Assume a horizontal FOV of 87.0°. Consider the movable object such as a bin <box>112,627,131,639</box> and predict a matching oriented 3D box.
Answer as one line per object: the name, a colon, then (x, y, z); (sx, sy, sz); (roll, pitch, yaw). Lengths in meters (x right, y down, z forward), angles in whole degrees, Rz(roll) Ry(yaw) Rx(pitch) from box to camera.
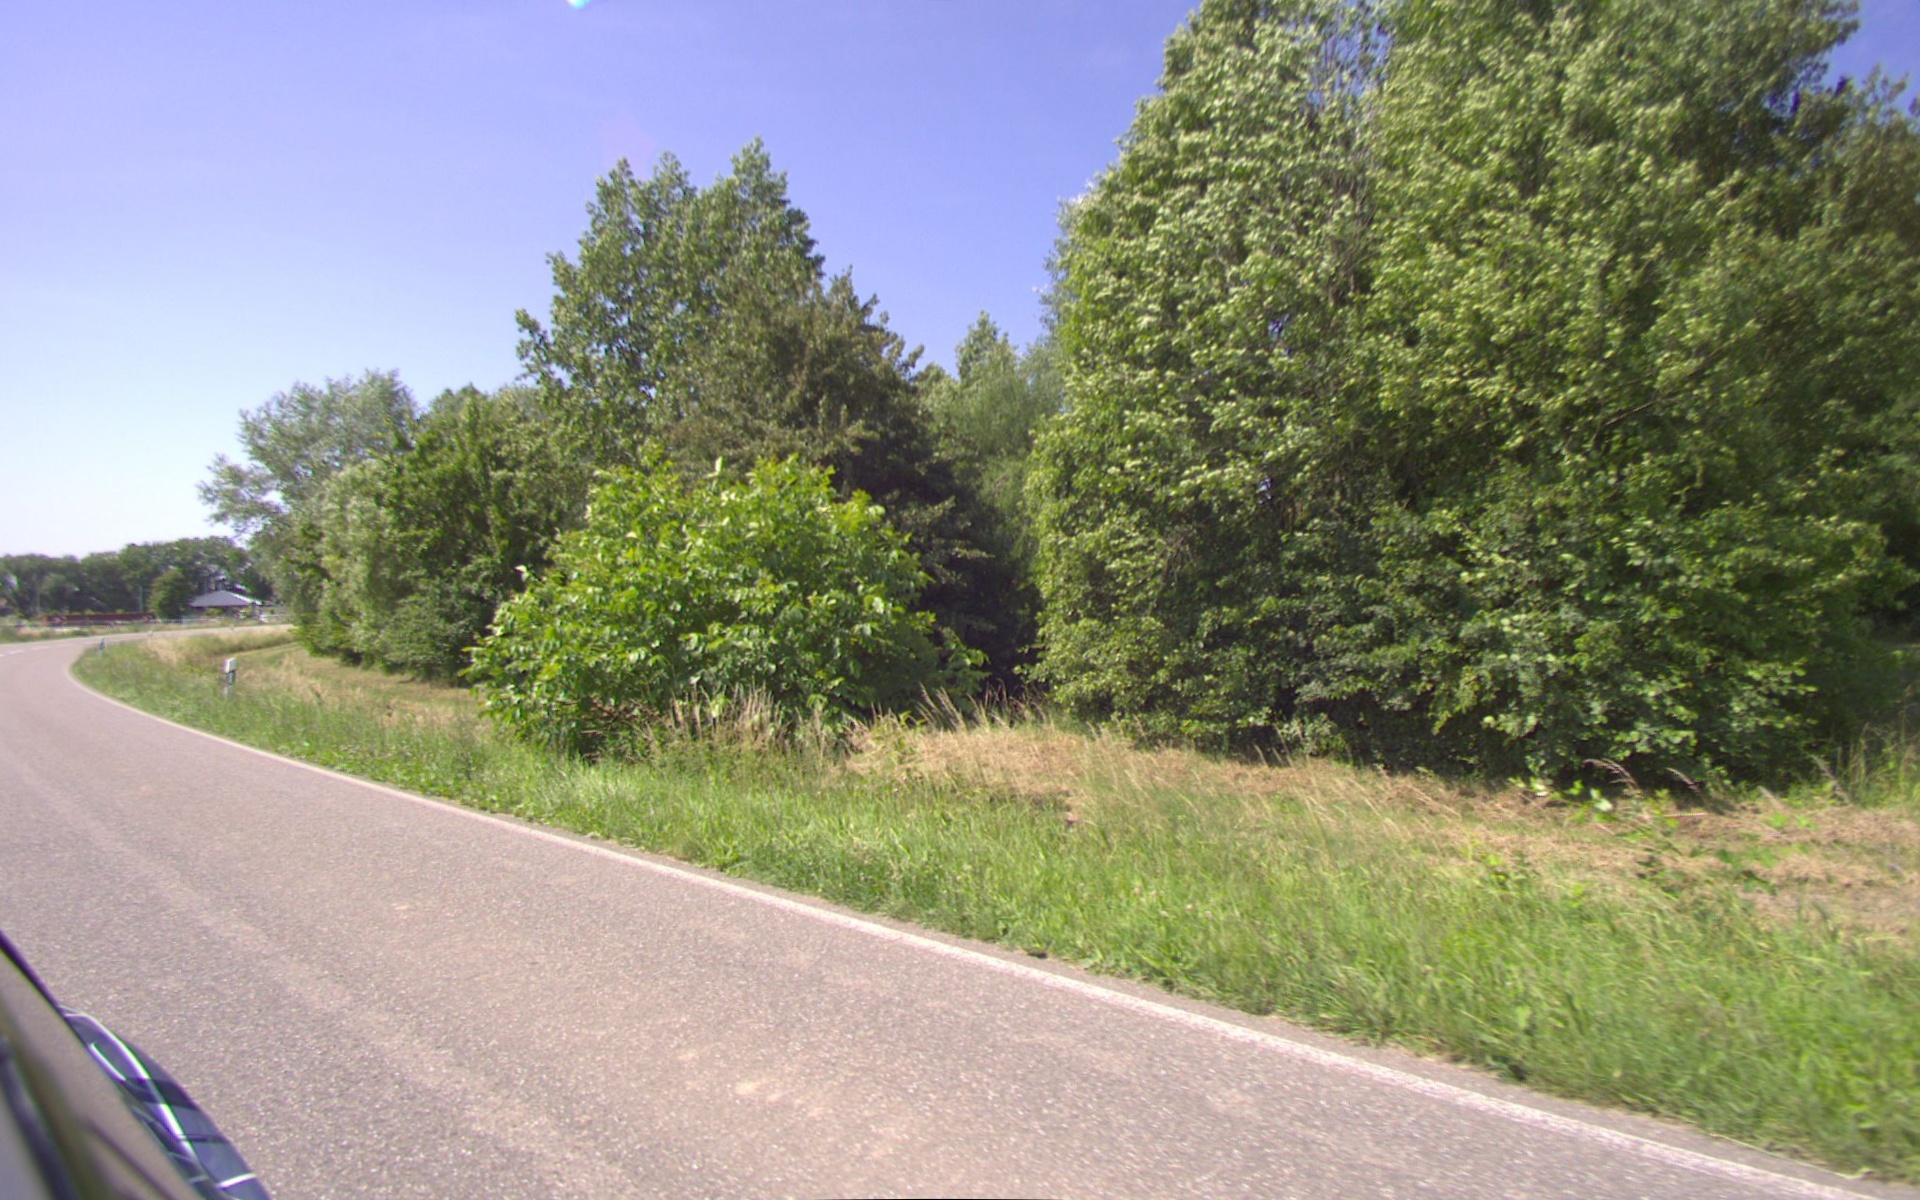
movable object such as a bin: (-109.863, 4.323, 132.583); (1.367, 1.359, 1.502); (-2, 0, 29)
